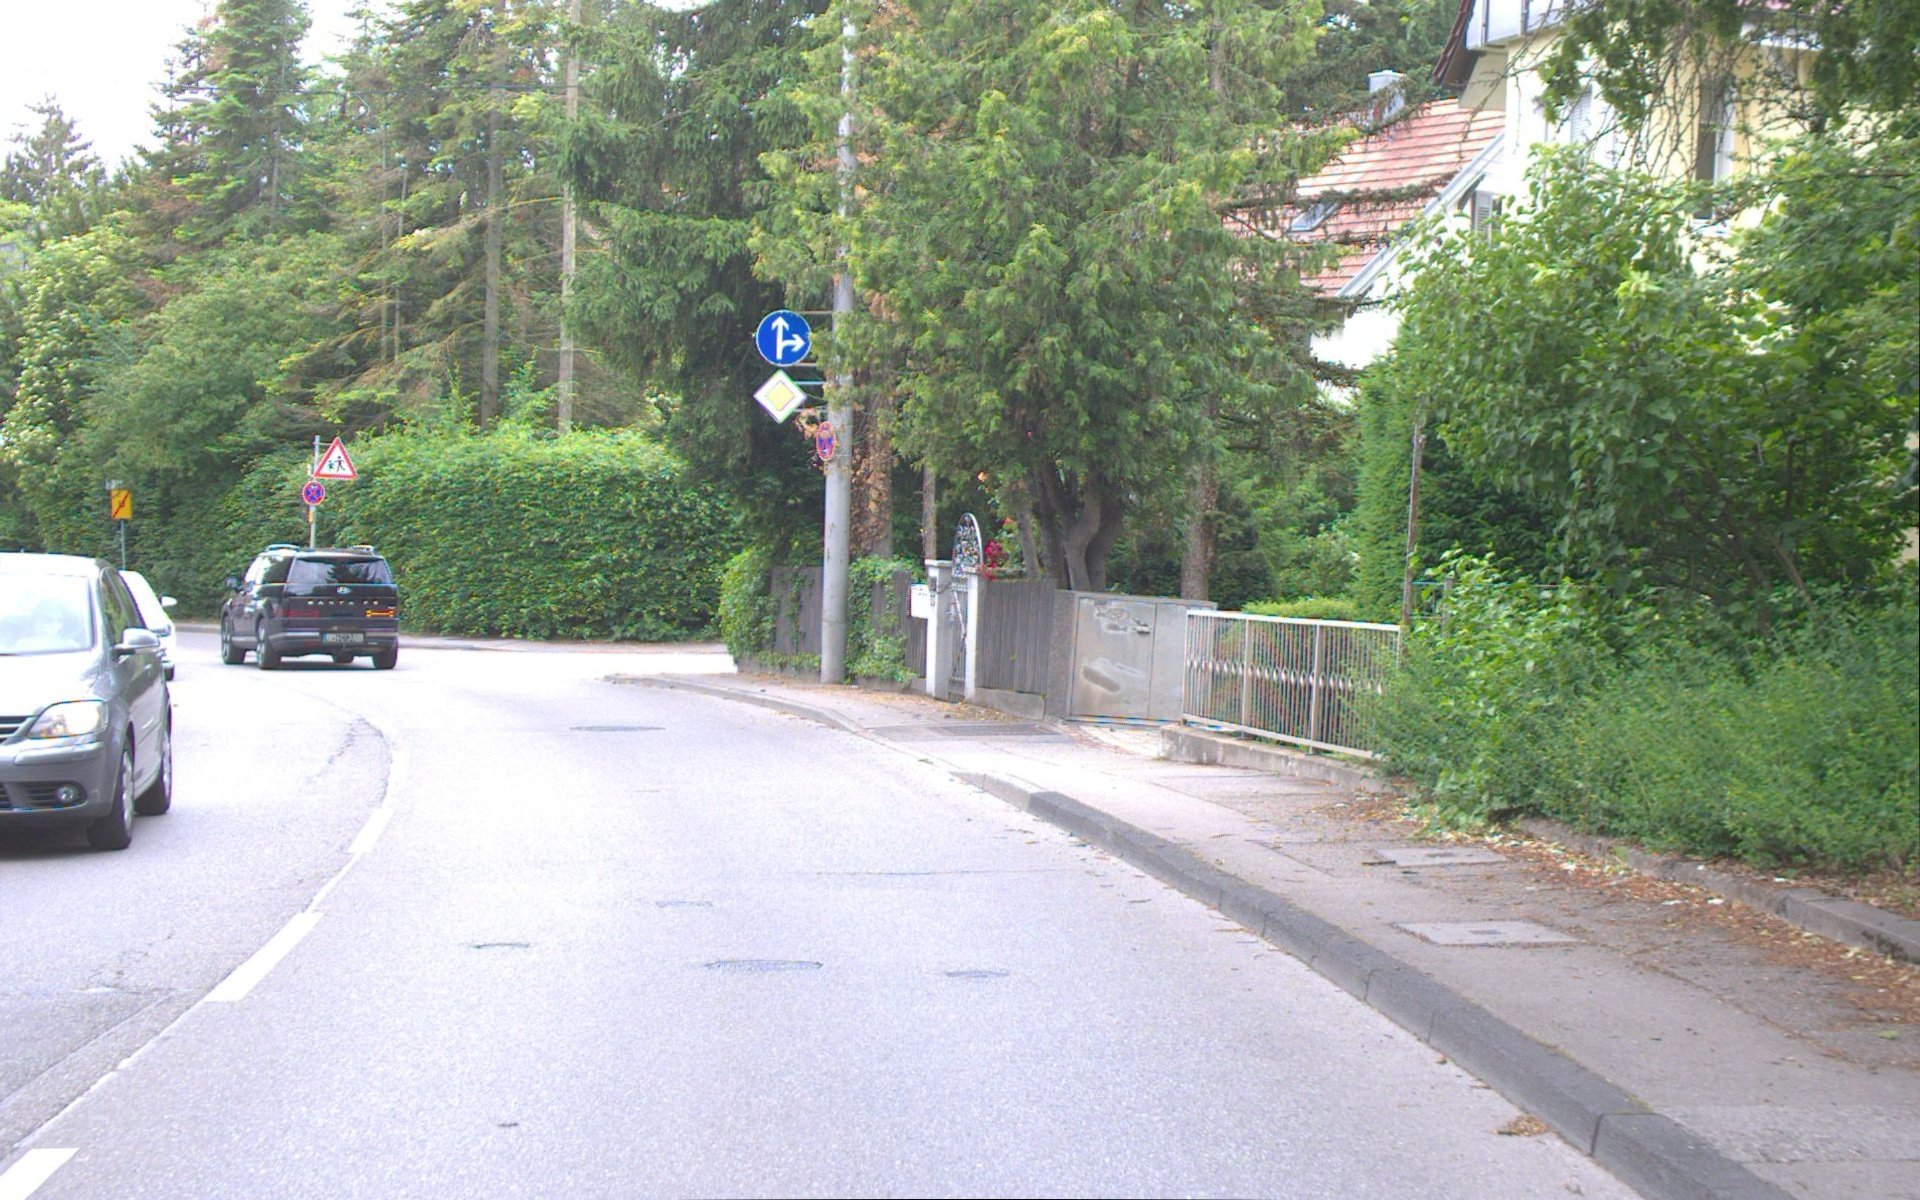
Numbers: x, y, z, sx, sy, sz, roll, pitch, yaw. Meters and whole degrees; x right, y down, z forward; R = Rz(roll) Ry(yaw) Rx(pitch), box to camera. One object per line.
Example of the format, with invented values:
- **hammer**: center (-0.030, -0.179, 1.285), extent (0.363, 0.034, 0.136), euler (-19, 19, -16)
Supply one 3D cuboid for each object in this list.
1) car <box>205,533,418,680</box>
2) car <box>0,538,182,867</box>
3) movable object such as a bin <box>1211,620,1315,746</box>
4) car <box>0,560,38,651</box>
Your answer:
- **car**: center (-9.341, 0.065, 49.299), extent (1.993, 1.875, 4.001), euler (2, 2, -25)
- **car**: center (-5.397, 0.481, 18.803), extent (1.993, 1.612, 4.001), euler (0, 1, -10)
- **movable object such as a bin**: center (2.625, 0.714, 29.841), extent (0.777, 1.045, 0.783), euler (1, 0, -3)
- **car**: center (-15.825, 0.069, 55.157), extent (1.912, 1.393, 3.910), euler (0, 1, -16)
